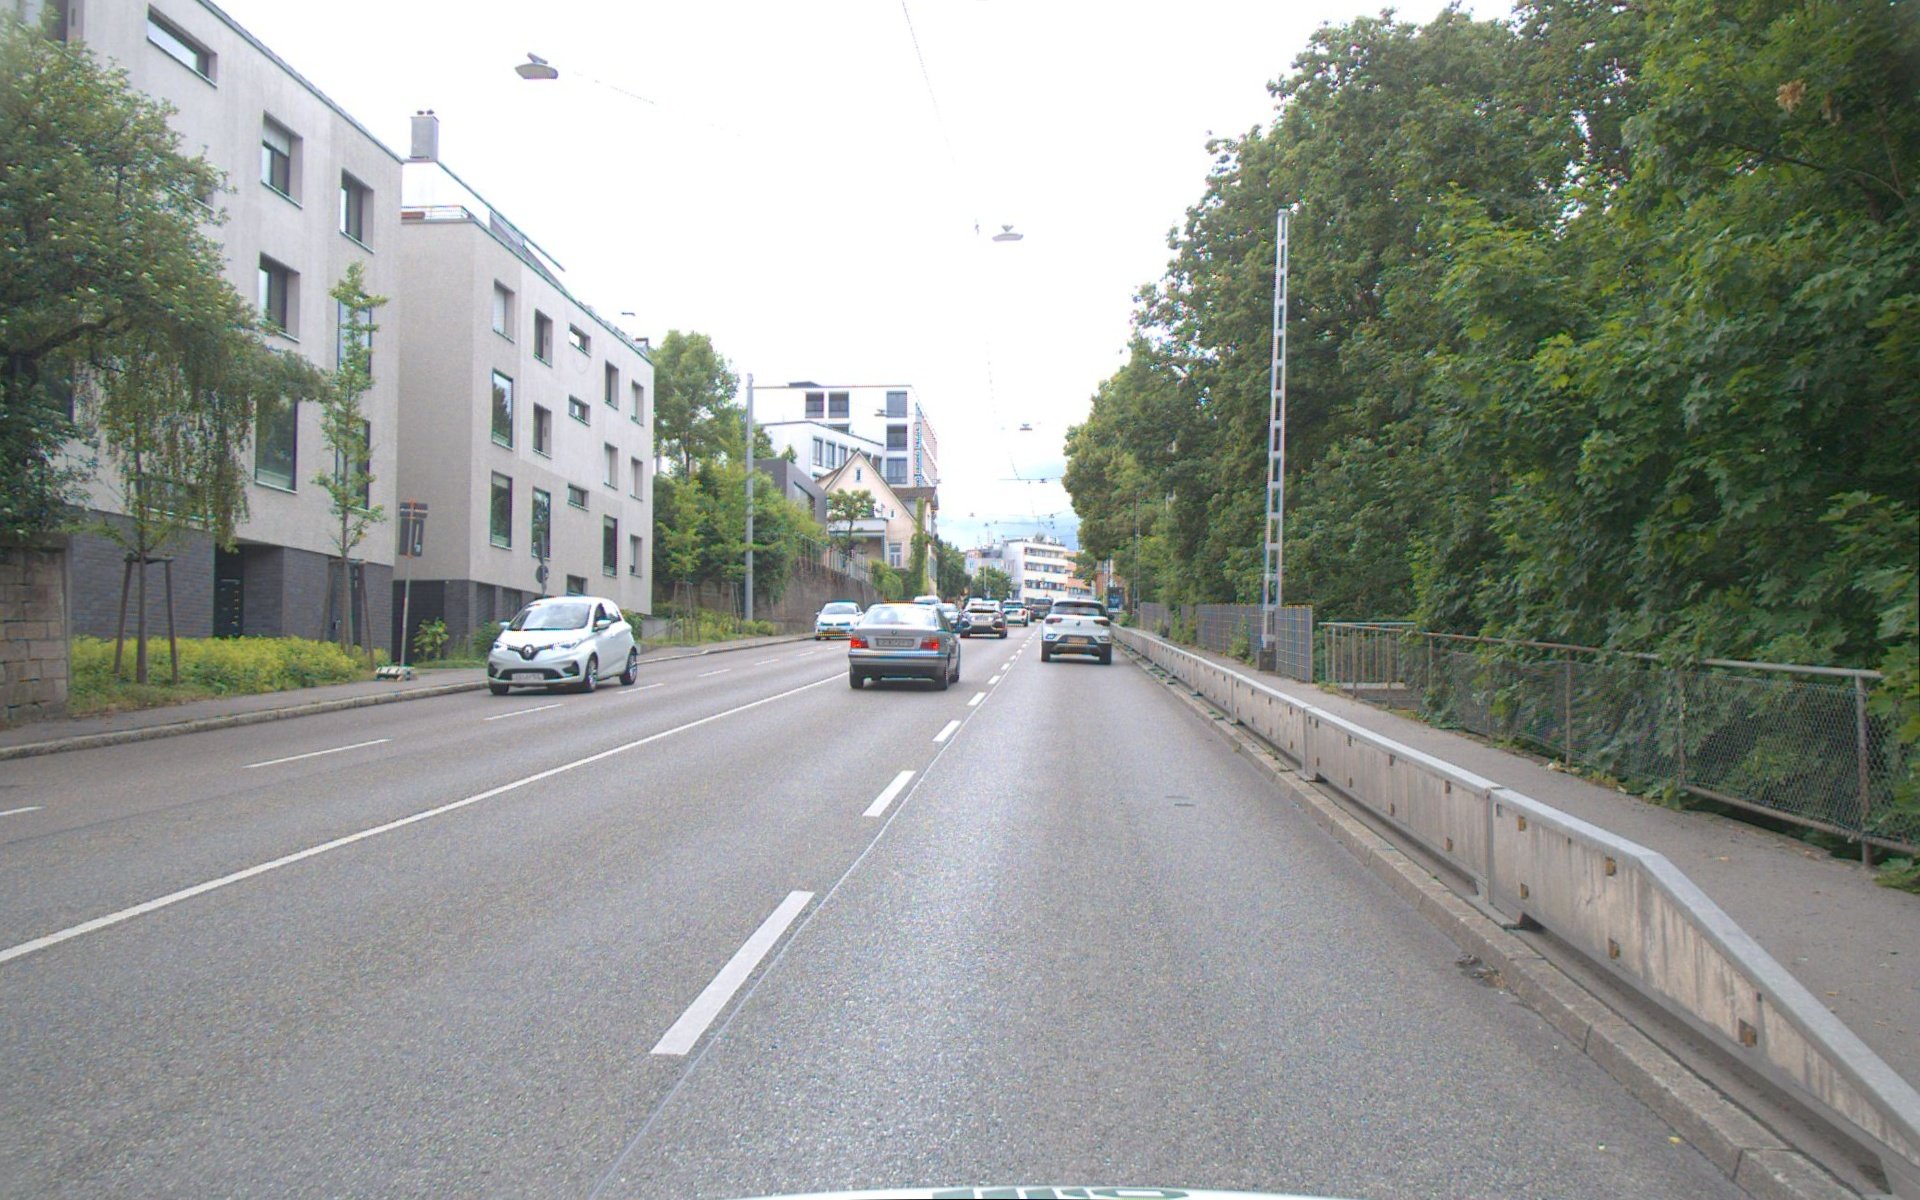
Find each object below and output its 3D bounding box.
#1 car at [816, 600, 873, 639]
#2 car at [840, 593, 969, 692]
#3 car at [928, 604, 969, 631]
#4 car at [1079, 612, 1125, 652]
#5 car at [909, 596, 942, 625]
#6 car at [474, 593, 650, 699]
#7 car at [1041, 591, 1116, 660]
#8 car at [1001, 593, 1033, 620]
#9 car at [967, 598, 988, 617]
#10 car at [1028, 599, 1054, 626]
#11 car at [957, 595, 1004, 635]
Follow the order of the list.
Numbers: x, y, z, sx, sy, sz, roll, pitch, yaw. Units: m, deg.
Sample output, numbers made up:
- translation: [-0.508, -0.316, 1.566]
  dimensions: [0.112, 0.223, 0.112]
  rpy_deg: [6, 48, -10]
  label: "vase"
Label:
- translation: [-4.585, 0.767, 66.050]
  dimensions: [1.736, 1.489, 4.193]
  rpy_deg: [-1, 0, 4]
  label: "car"
- translation: [-0.854, 0.691, 27.821]
  dimensions: [1.670, 1.490, 4.002]
  rpy_deg: [2, -1, 5]
  label: "car"
- translation: [-0.553, 0.851, 81.547]
  dimensions: [1.716, 1.291, 4.193]
  rpy_deg: [-1, 0, 4]
  label: "car"
- translation: [5.618, 1.267, 65.904]
  dimensions: [1.671, 1.489, 4.001]
  rpy_deg: [3, -1, 4]
  label: "car"
- translation: [-2.209, 0.674, 106.218]
  dimensions: [1.696, 1.820, 4.869]
  rpy_deg: [-1, 0, 4]
  label: "car"
- translation: [-6.713, 0.729, 28.343]
  dimensions: [1.707, 1.642, 4.059]
  rpy_deg: [-2, 0, 5]
  label: "car"
- translation: [2.930, 0.625, 41.657]
  dimensions: [1.743, 1.606, 4.001]
  rpy_deg: [2, 0, 3]
  label: "car"
- translation: [3.263, 0.352, 94.097]
  dimensions: [1.670, 1.489, 4.002]
  rpy_deg: [0, 0, 4]
  label: "car"
- translation: [1.750, 0.745, 166.553]
  dimensions: [1.778, 1.815, 4.497]
  rpy_deg: [2, 0, 4]
  label: "car"
- translation: [5.505, 0.829, 112.134]
  dimensions: [1.622, 1.796, 3.288]
  rpy_deg: [1, 0, 4]
  label: "car"
- translation: [0.841, 0.575, 65.476]
  dimensions: [1.670, 1.489, 4.002]
  rpy_deg: [0, 0, 4]
  label: "car"
